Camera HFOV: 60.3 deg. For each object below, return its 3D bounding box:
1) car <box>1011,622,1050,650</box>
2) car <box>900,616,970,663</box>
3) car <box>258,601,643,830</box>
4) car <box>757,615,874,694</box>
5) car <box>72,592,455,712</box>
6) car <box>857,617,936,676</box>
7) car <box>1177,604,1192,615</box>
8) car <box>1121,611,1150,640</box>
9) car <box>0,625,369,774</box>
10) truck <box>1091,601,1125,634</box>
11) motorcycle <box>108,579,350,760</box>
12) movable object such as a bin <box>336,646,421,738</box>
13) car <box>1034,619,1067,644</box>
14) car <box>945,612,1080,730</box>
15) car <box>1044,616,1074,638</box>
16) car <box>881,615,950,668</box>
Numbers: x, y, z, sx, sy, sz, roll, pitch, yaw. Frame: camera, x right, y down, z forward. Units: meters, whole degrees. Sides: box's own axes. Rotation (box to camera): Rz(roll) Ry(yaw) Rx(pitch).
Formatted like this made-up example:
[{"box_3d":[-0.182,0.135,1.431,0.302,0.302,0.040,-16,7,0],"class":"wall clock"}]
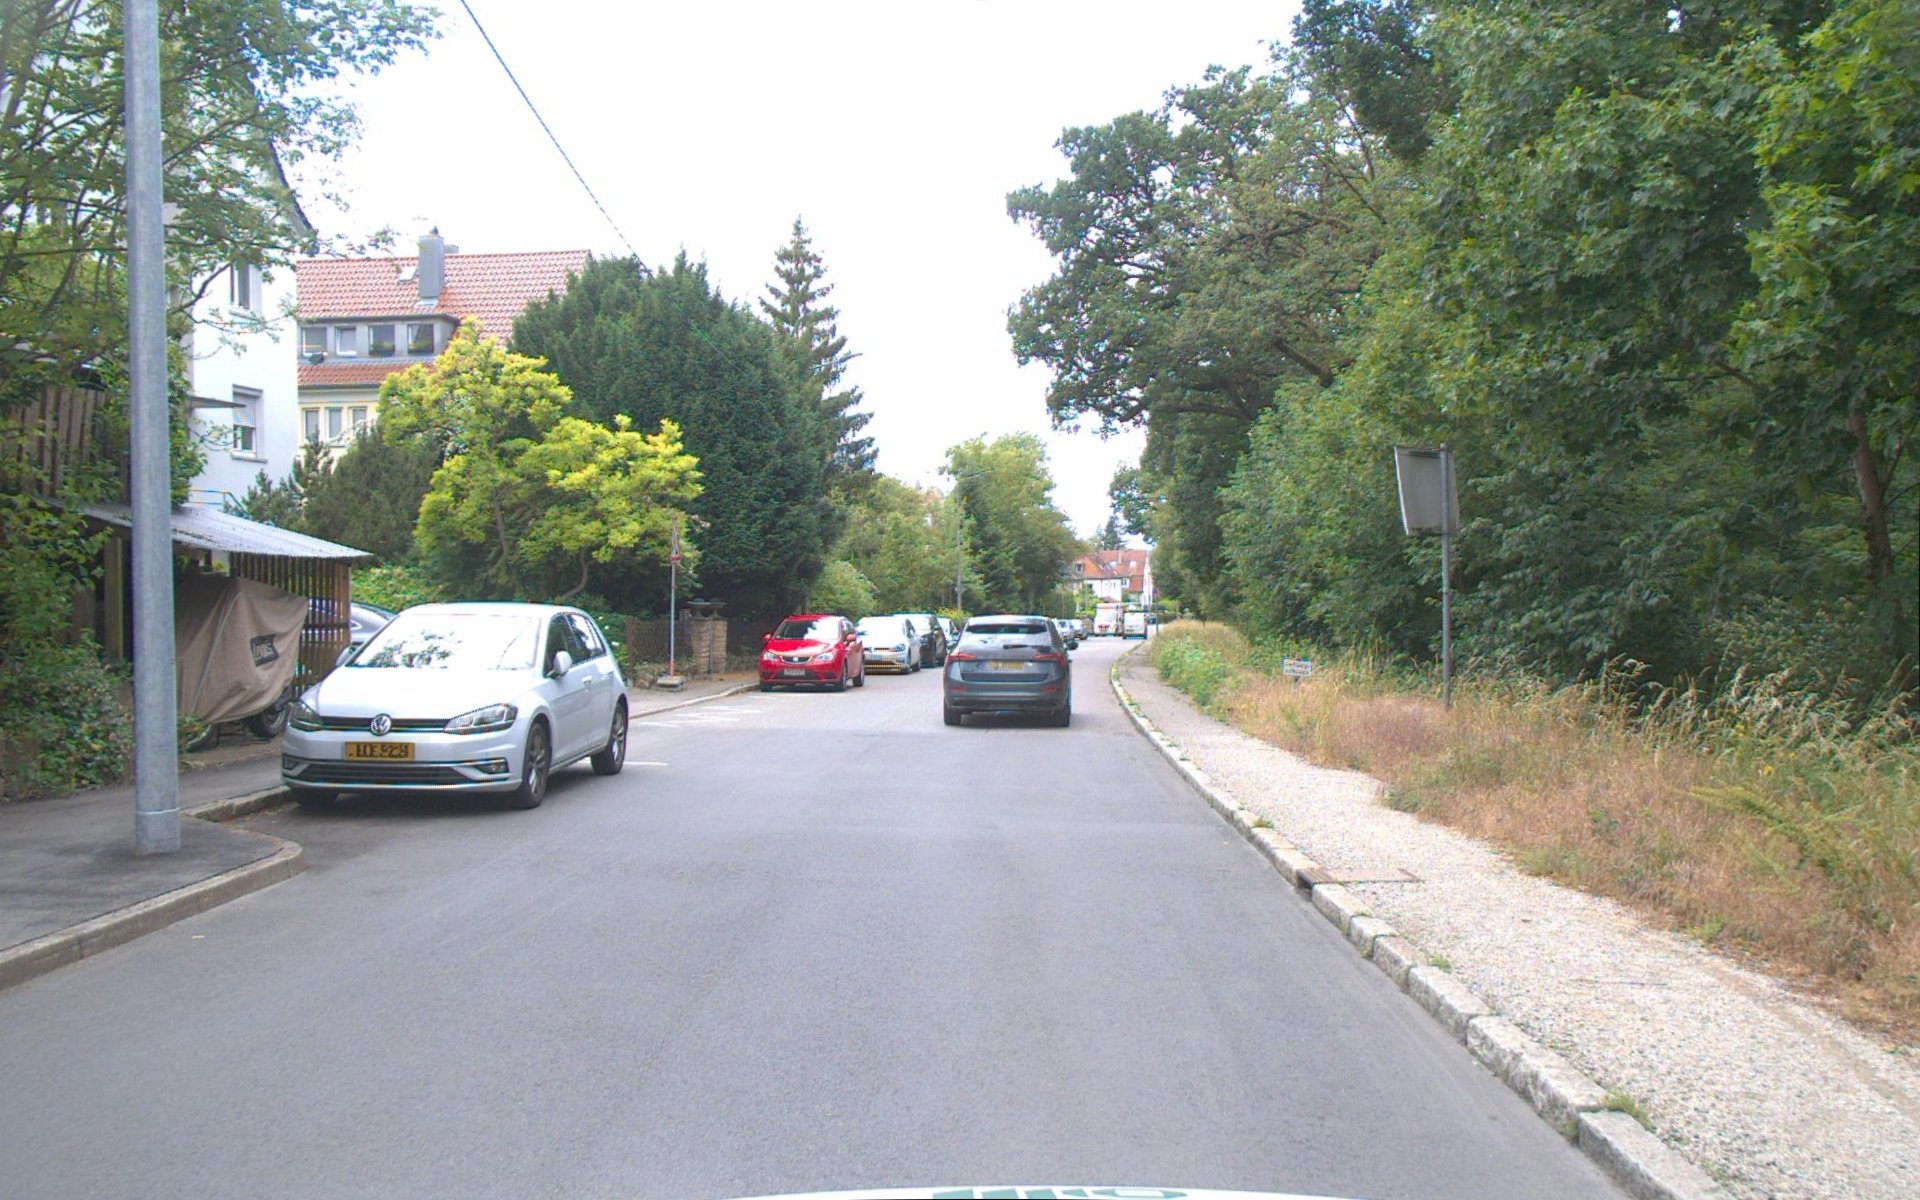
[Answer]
[{"box_3d":[3.750,1.883,87.267,1.712,1.429,4.003,1,0,7],"class":"car"},{"box_3d":[-0.777,1.261,53.848,1.712,1.429,4.003,1,0,7],"class":"car"},{"box_3d":[-3.794,0.786,13.073,1.670,1.493,4.076,1,0,1],"class":"car"},{"box_3d":[-2.795,1.024,32.731,1.601,1.429,4.002,1,0,5],"class":"car"},{"box_3d":[-9.386,0.680,22.509,4.386,1.466,1.879,1,-1,4],"class":"car"},{"box_3d":[-1.599,1.164,42.891,1.712,1.429,4.001,1,0,2],"class":"car"},{"box_3d":[30.046,1.297,221.283,1.698,1.472,4.002,1,0,5],"class":"car"},{"box_3d":[13.501,1.918,127.146,2.159,2.100,6.139,0,0,6],"class":"car"},{"box_3d":[-9.174,1.128,19.171,3.966,1.411,1.649,-3,0,2],"class":"car"},{"box_3d":[13.271,1.549,147.752,2.704,2.843,9.275,0,0,7],"class":"truck"},{"box_3d":[-6.695,0.598,15.391,0.793,1.511,2.897,1,0,3],"class":"motorcycle"},{"box_3d":[-6.136,0.957,17.471,0.578,0.925,0.701,1,-1,7],"class":"movable object such as a bin"},{"box_3d":[5.492,1.896,100.049,1.712,1.429,4.003,1,0,7],"class":"car"},{"box_3d":[0.752,0.916,23.211,1.698,1.472,4.181,1,0,2],"class":"car"},{"box_3d":[6.630,1.784,110.590,1.712,1.429,4.003,1,0,7],"class":"car"},{"box_3d":[-1.246,1.183,48.094,1.712,1.429,4.001,1,0,2],"class":"car"}]
